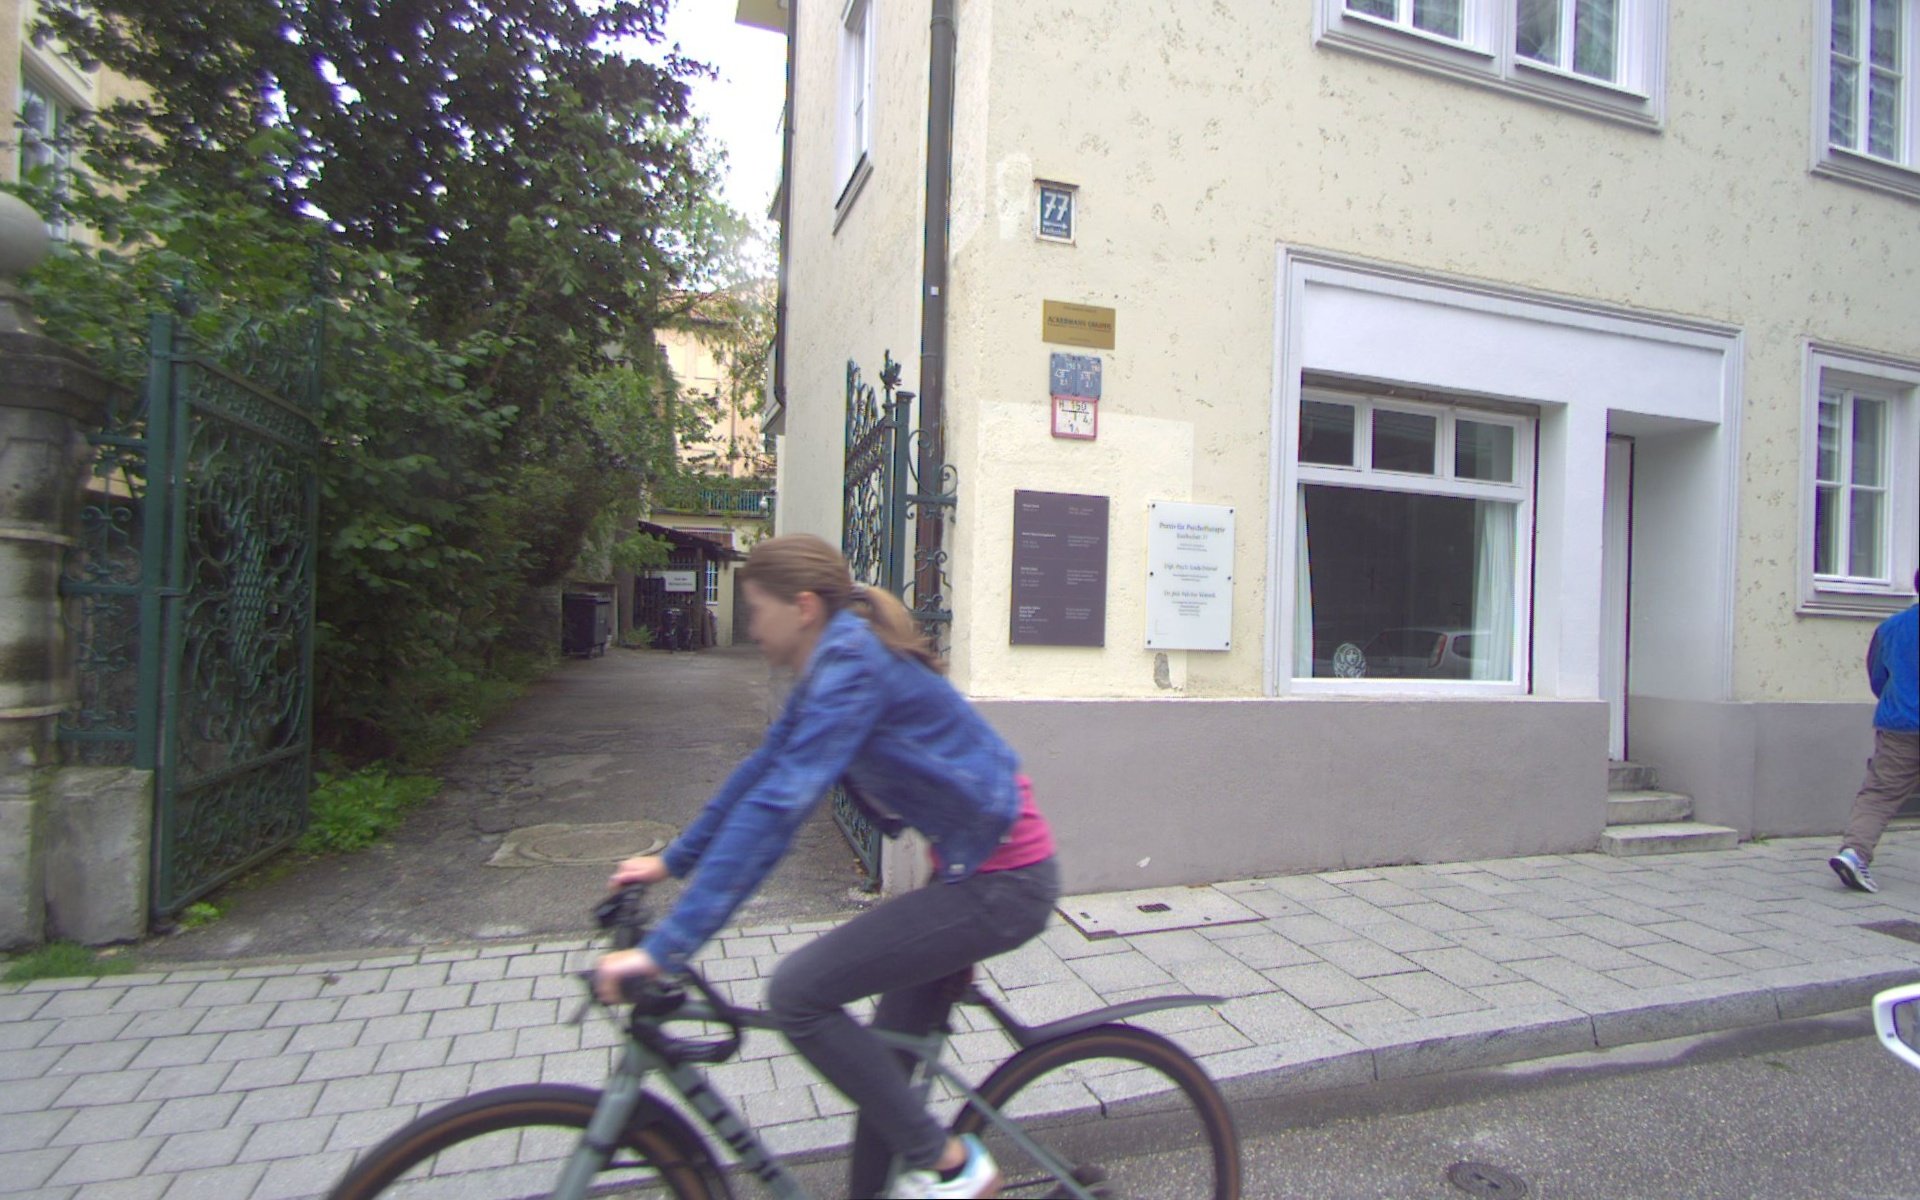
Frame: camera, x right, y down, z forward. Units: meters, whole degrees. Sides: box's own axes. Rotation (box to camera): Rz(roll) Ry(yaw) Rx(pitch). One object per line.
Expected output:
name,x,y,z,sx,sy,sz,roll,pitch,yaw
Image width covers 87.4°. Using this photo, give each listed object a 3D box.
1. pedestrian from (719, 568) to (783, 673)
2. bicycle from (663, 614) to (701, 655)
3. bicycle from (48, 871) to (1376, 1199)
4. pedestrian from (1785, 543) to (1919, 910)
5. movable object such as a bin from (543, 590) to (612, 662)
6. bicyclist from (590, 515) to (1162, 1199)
pedestrian,-3.844,0.375,18.555,0.890,1.851,0.956,2,0,2
bicycle,-7.063,0.855,25.583,0.686,0.985,1.885,2,-1,-9
bicycle,-0.268,1.059,1.712,1.781,0.917,0.707,2,-1,-19
pedestrian,5.356,0.659,5.526,1.060,1.879,0.756,2,1,-19
movable object such as a bin,-7.928,0.531,20.880,1.088,1.422,1.225,2,-1,-11
bicyclist,-0.197,0.603,1.740,0.800,1.389,0.707,2,-1,-19
